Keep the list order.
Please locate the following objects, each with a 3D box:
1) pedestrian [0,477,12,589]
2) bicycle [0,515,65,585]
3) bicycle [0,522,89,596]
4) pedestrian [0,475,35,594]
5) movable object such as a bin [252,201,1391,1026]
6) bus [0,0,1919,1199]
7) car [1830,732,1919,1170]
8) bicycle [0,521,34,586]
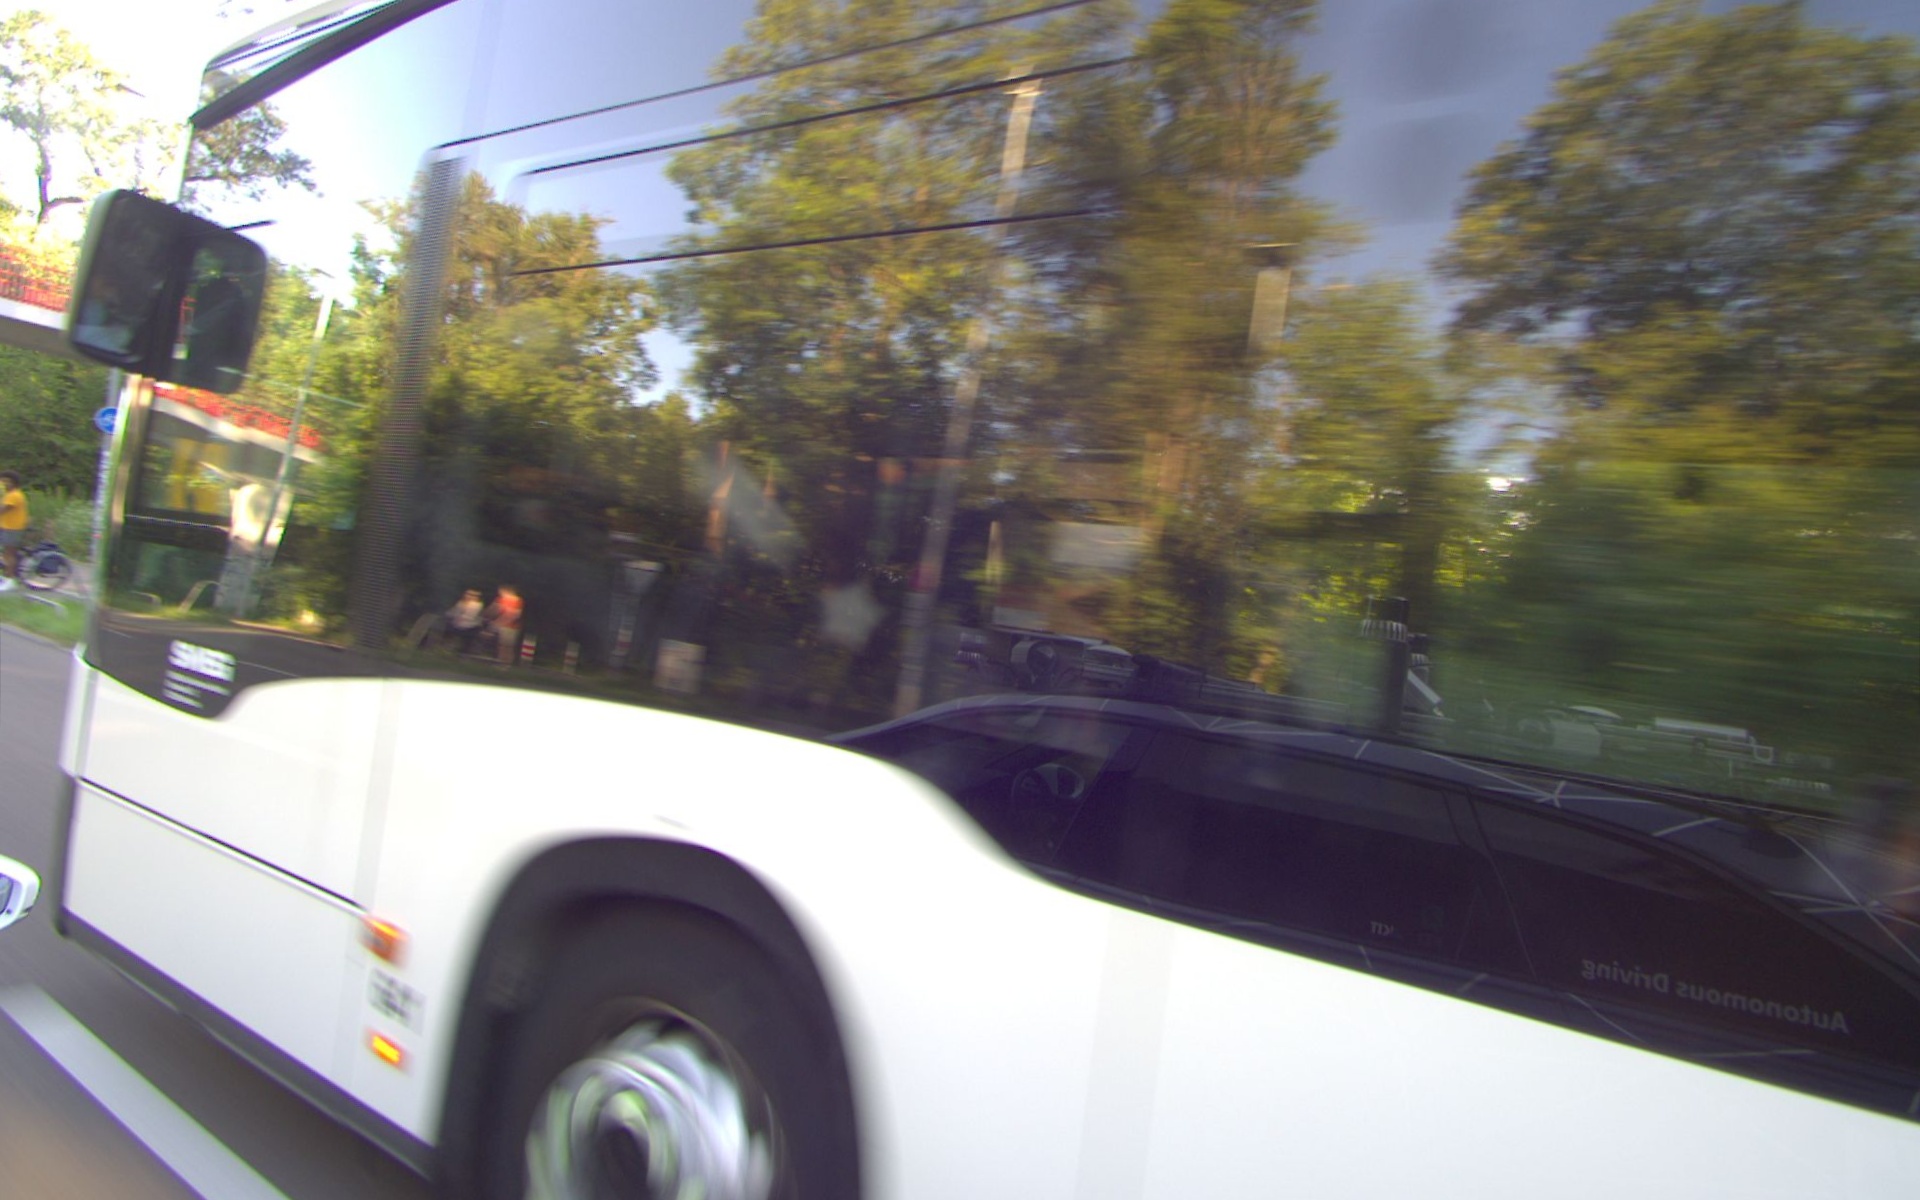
[{"bbox_3d":[-16.591,-1.186,16.809,0.922,1.876,0.700,7,1,28],"label":"pedestrian"},{"bbox_3d":[-16.547,-0.916,16.873,0.855,1.081,2.066,7,0,28],"label":"bicycle"},{"bbox_3d":[-15.736,-0.726,16.423,0.855,1.081,2.066,7,0,28],"label":"bicycle"},{"bbox_3d":[-15.757,-1.094,16.330,0.922,1.876,0.700,7,1,28],"label":"pedestrian"},{"bbox_3d":[-1.290,-0.233,7.112,7.468,3.412,2.764,7,0,28],"label":"movable object such as a bin"},{"bbox_3d":[2.866,0.324,1.122,12.071,3.260,2.710,7,-1,30],"label":"bus"},{"bbox_3d":[5.533,1.545,3.001,4.020,1.593,1.731,7,-1,29],"label":"car"},{"bbox_3d":[-17.555,-0.907,17.388,0.855,1.081,2.066,7,0,28],"label":"bicycle"}]
